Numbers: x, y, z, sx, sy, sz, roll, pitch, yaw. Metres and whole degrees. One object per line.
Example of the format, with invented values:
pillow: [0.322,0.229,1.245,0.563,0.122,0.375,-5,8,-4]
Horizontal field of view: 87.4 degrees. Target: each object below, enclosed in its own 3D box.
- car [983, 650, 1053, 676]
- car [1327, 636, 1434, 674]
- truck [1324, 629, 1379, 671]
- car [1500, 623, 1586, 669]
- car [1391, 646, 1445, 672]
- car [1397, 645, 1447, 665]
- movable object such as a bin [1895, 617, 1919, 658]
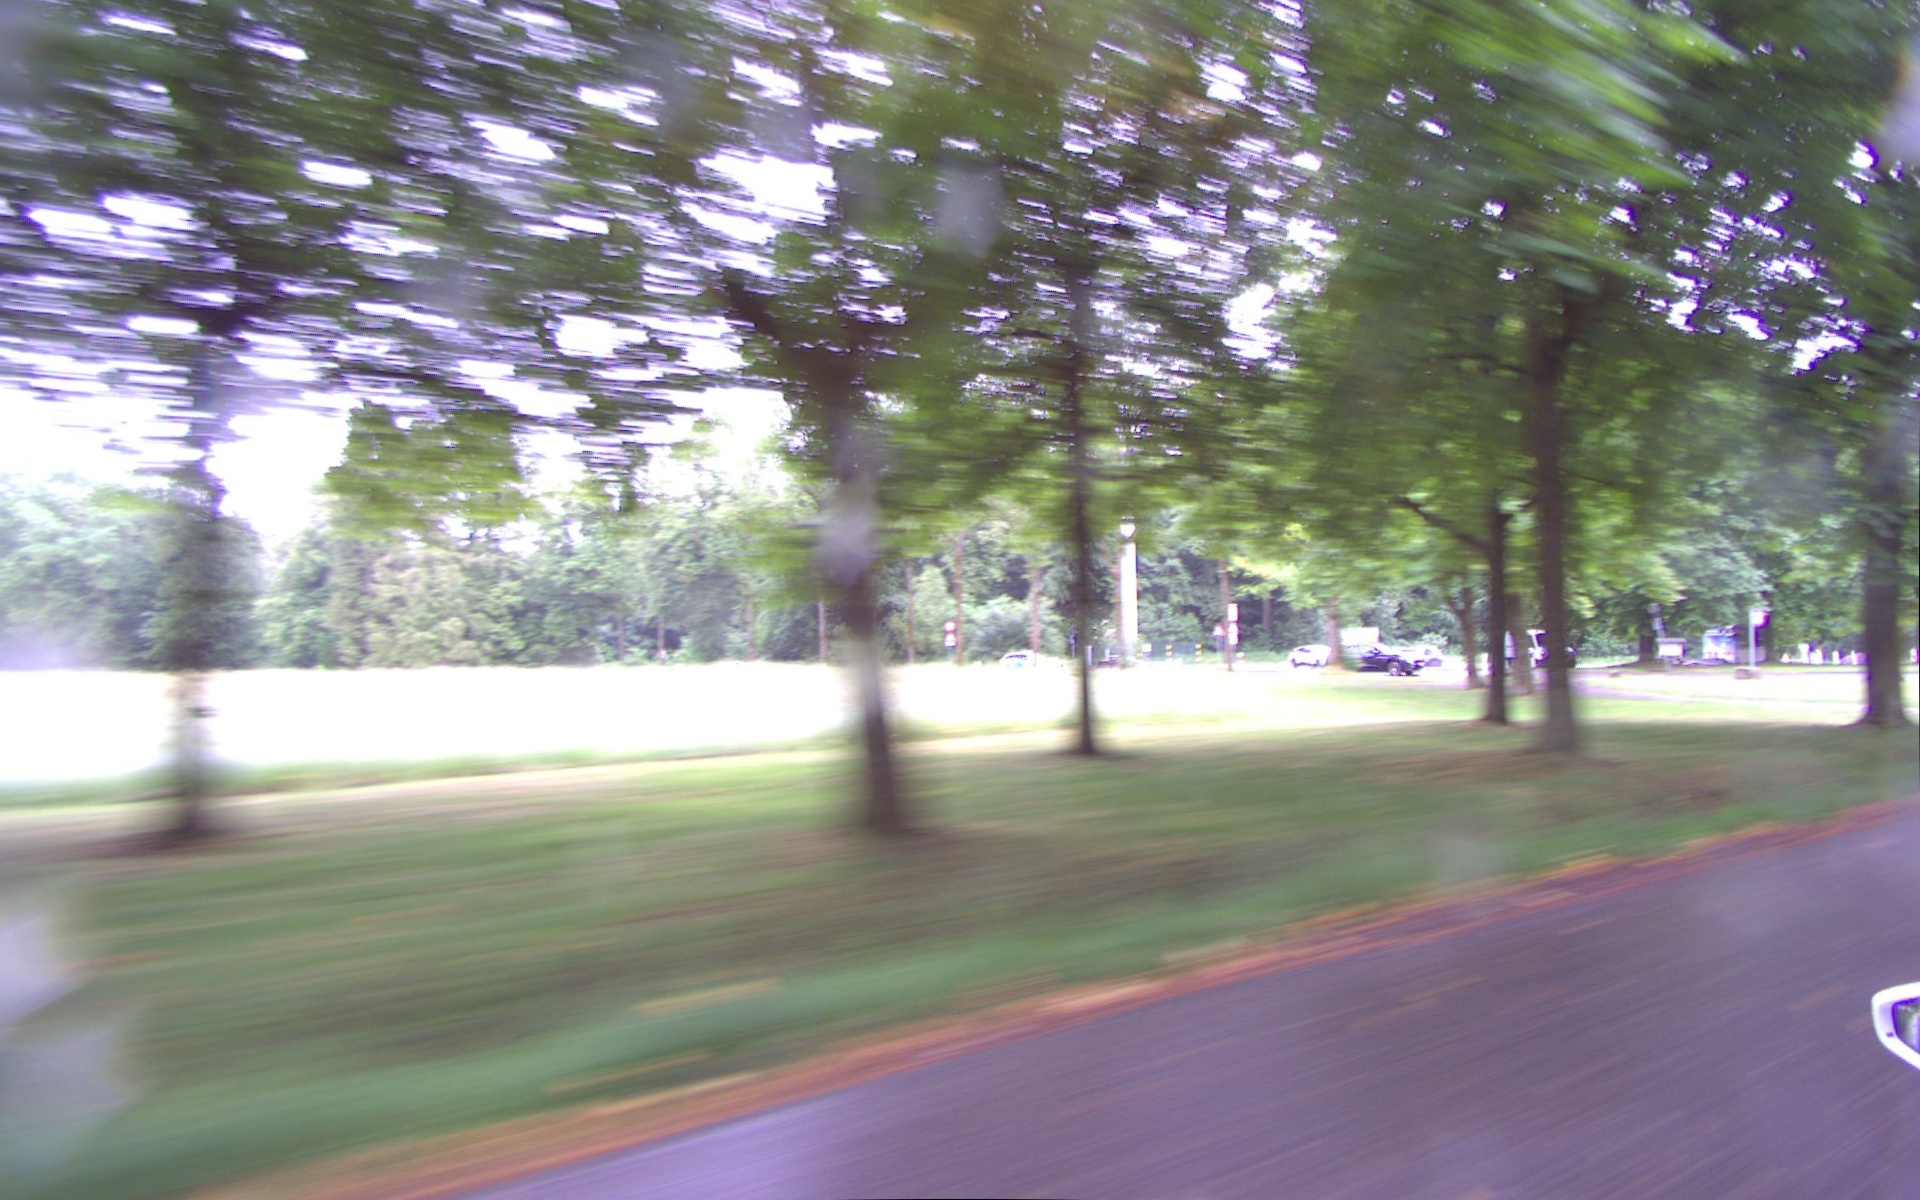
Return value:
car: [3.893,4.238,67.848,1.720,1.621,4.839,1,-3,-44]
car: [20.833,2.750,49.891,1.720,1.731,4.517,1,-4,-44]
truck: [23.501,2.978,60.279,1.851,2.474,3.328,-3,-3,45]
car: [32.636,2.601,56.497,2.344,2.439,5.989,1,-3,11]
car: [26.548,3.389,58.115,1.743,1.448,4.086,-3,-3,41]
car: [39.624,4.701,86.292,1.964,1.606,3.993,0,-2,-11]
movable object such as a bin: [79.799,3.044,82.001,3.883,3.337,4.615,2,-3,-41]
